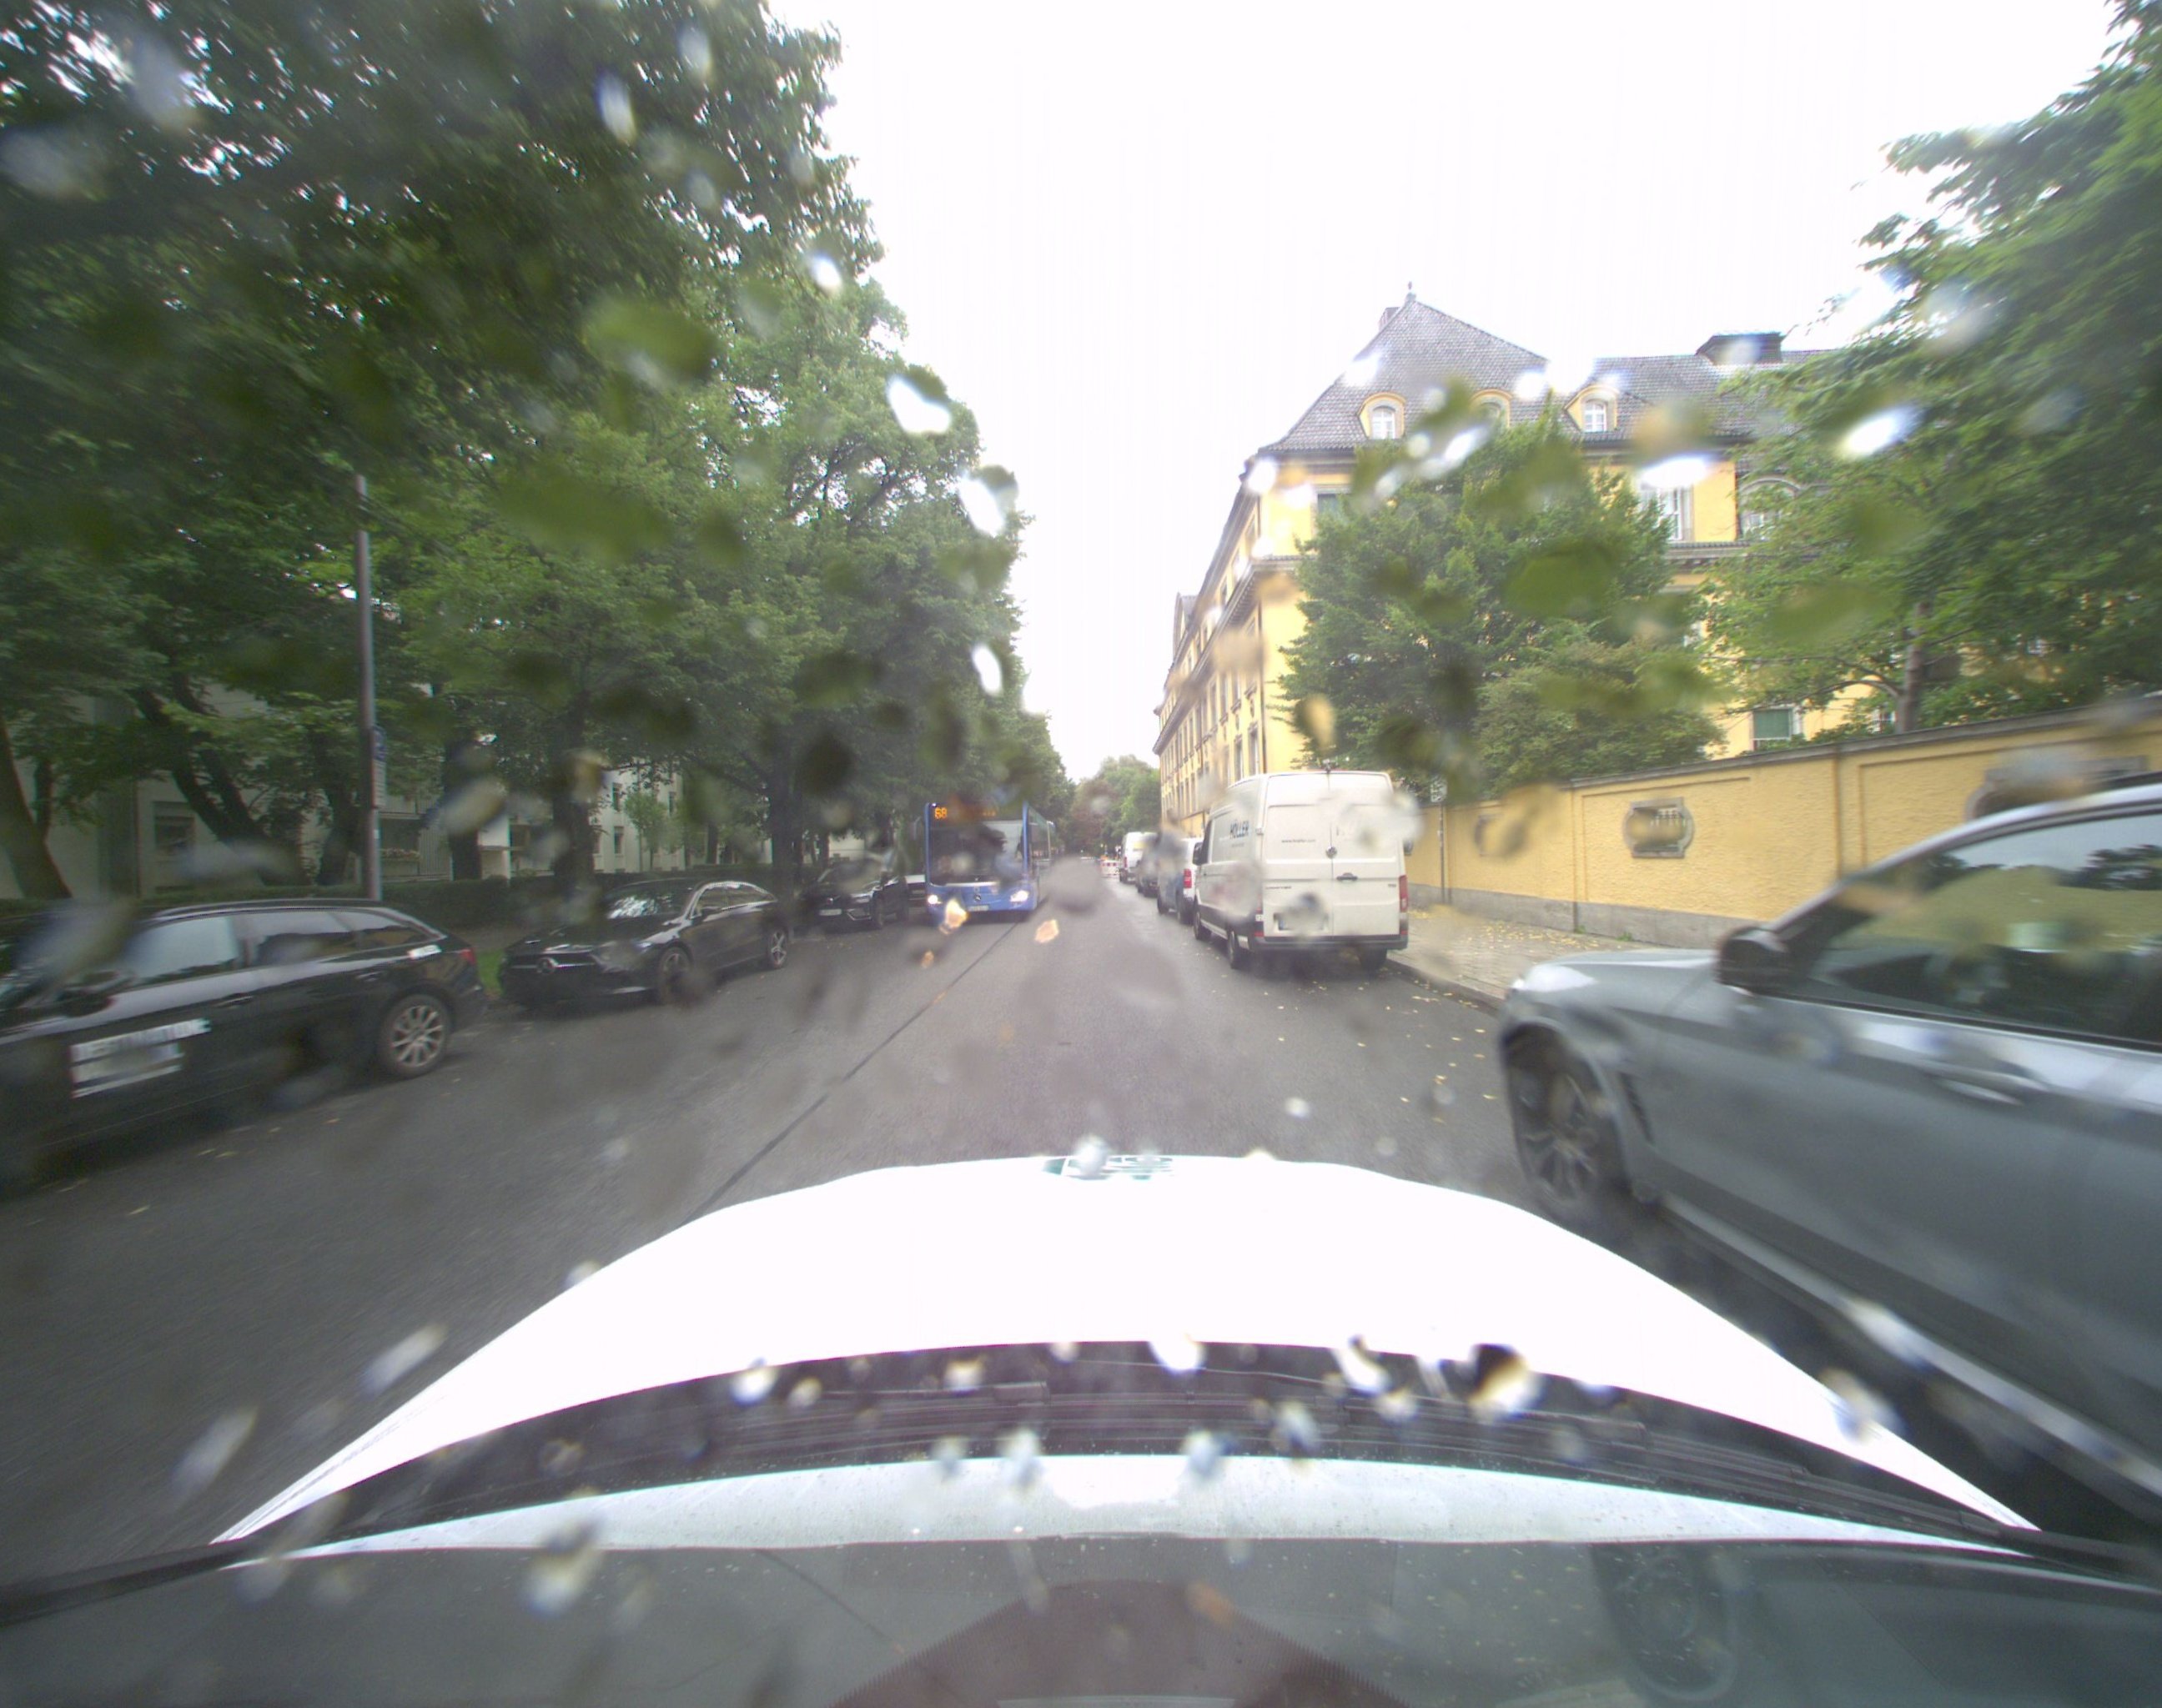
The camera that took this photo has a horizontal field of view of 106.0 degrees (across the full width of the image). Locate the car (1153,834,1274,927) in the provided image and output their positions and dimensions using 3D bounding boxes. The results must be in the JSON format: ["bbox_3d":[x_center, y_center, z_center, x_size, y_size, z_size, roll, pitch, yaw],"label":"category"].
[{"bbox_3d":[2.972,0.566,19.480,2.007,1.906,5.162,-1,0,-1],"label":"car"}]

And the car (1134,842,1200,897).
[{"bbox_3d":[3.160,0.565,30.797,1.865,1.869,4.984,-2,-1,-1],"label":"car"}]

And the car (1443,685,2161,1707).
[{"bbox_3d":[2.756,0.577,1.817,1.853,1.741,4.602,-1,0,0],"label":"car"}]

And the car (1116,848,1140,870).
[{"bbox_3d":[4.005,0.431,69.929,1.734,1.750,4.355,-2,-1,0],"label":"car"}]

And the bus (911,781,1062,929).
[{"bbox_3d":[-2.345,0.189,27.646,2.850,3.239,18.422,-2,-1,0],"label":"bus"}]

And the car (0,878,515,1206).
[{"bbox_3d":[-6.061,0.993,5.027,1.783,1.438,4.580,-2,0,1],"label":"car"}]

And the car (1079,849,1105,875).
[{"bbox_3d":[0.727,0.532,53.153,1.571,1.584,4.045,-2,0,2],"label":"car"}]

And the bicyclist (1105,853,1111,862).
[{"bbox_3d":[4.478,0.618,134.665,0.680,1.504,0.899,-2,0,-8],"label":"bicyclist"}]

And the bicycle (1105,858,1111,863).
[{"bbox_3d":[4.480,1.061,134.778,0.679,0.830,2.104,-2,-1,-8],"label":"bicycle"}]

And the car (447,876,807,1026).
[{"bbox_3d":[-5.433,1.059,10.618,1.781,1.438,4.558,-2,-1,5],"label":"car"}]

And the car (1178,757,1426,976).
[{"bbox_3d":[2.926,0.195,12.397,2.089,2.488,5.737,-2,-1,-1],"label":"car"}]

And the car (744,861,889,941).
[{"bbox_3d":[-5.442,0.921,17.303,1.784,1.454,3.947,-2,-1,-1],"label":"car"}]

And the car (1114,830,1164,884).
[{"bbox_3d":[3.129,0.189,45.292,2.048,2.673,7.611,-2,-1,-1],"label":"car"}]

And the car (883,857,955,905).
[{"bbox_3d":[-5.952,0.965,30.392,1.779,1.597,4.582,-2,-1,-1],"label":"car"}]
